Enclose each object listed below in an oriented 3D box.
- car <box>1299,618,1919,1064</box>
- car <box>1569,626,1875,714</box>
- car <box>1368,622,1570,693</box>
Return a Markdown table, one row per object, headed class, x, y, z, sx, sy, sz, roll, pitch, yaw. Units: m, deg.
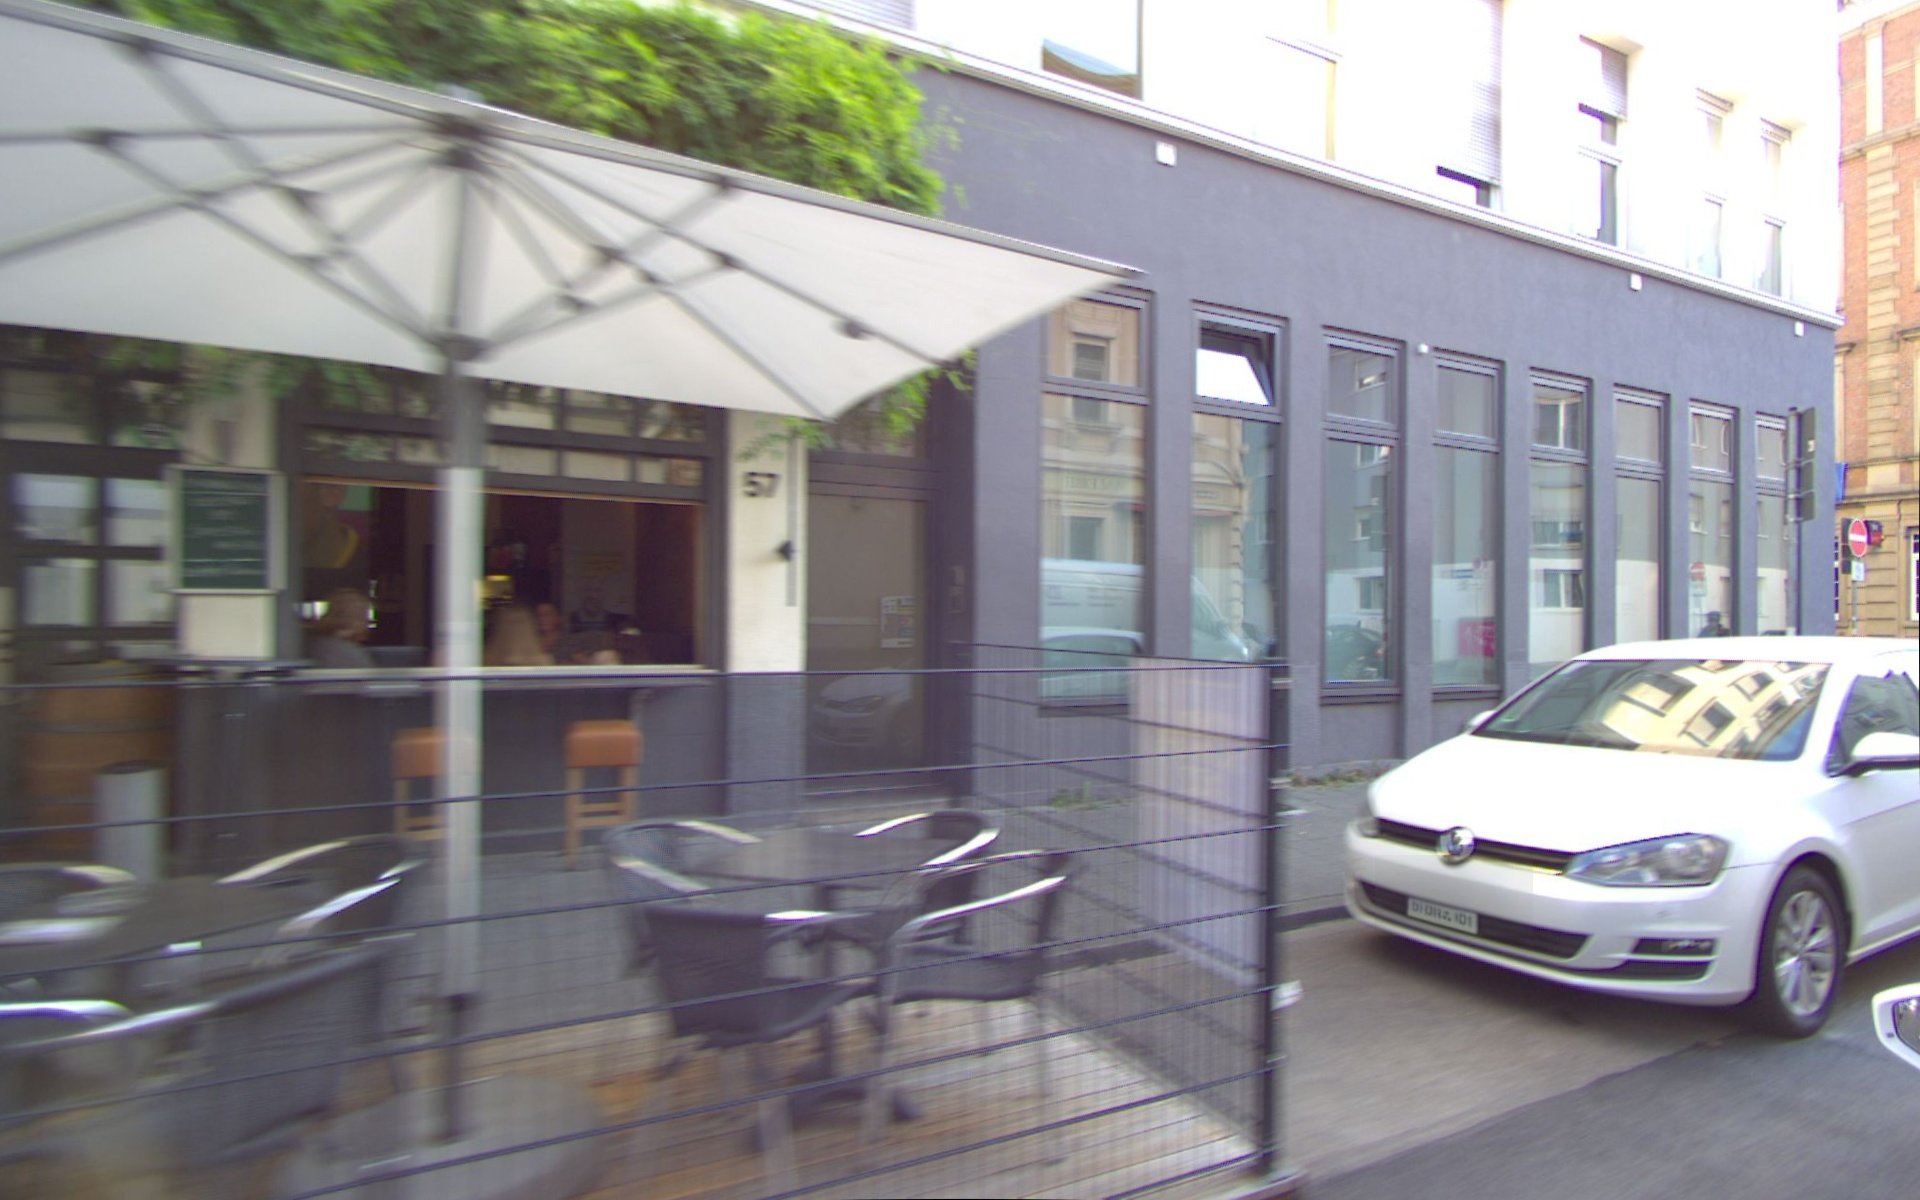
| class | x | y | z | sx | sy | sz | roll | pitch | yaw |
| --- | --- | --- | --- | --- | --- | --- | --- | --- | --- |
| car | 3.655 | 0.827 | 4.883 | 3.834 | 1.432 | 1.651 | 1 | -1 | -28 |
| car | 14.623 | 1.264 | 19.586 | 1.734 | 1.420 | 4.456 | -1 | 0 | -28 |
| car | 12.355 | 1.332 | 24.645 | 1.988 | 1.545 | 4.090 | 1 | -1 | -26 |
